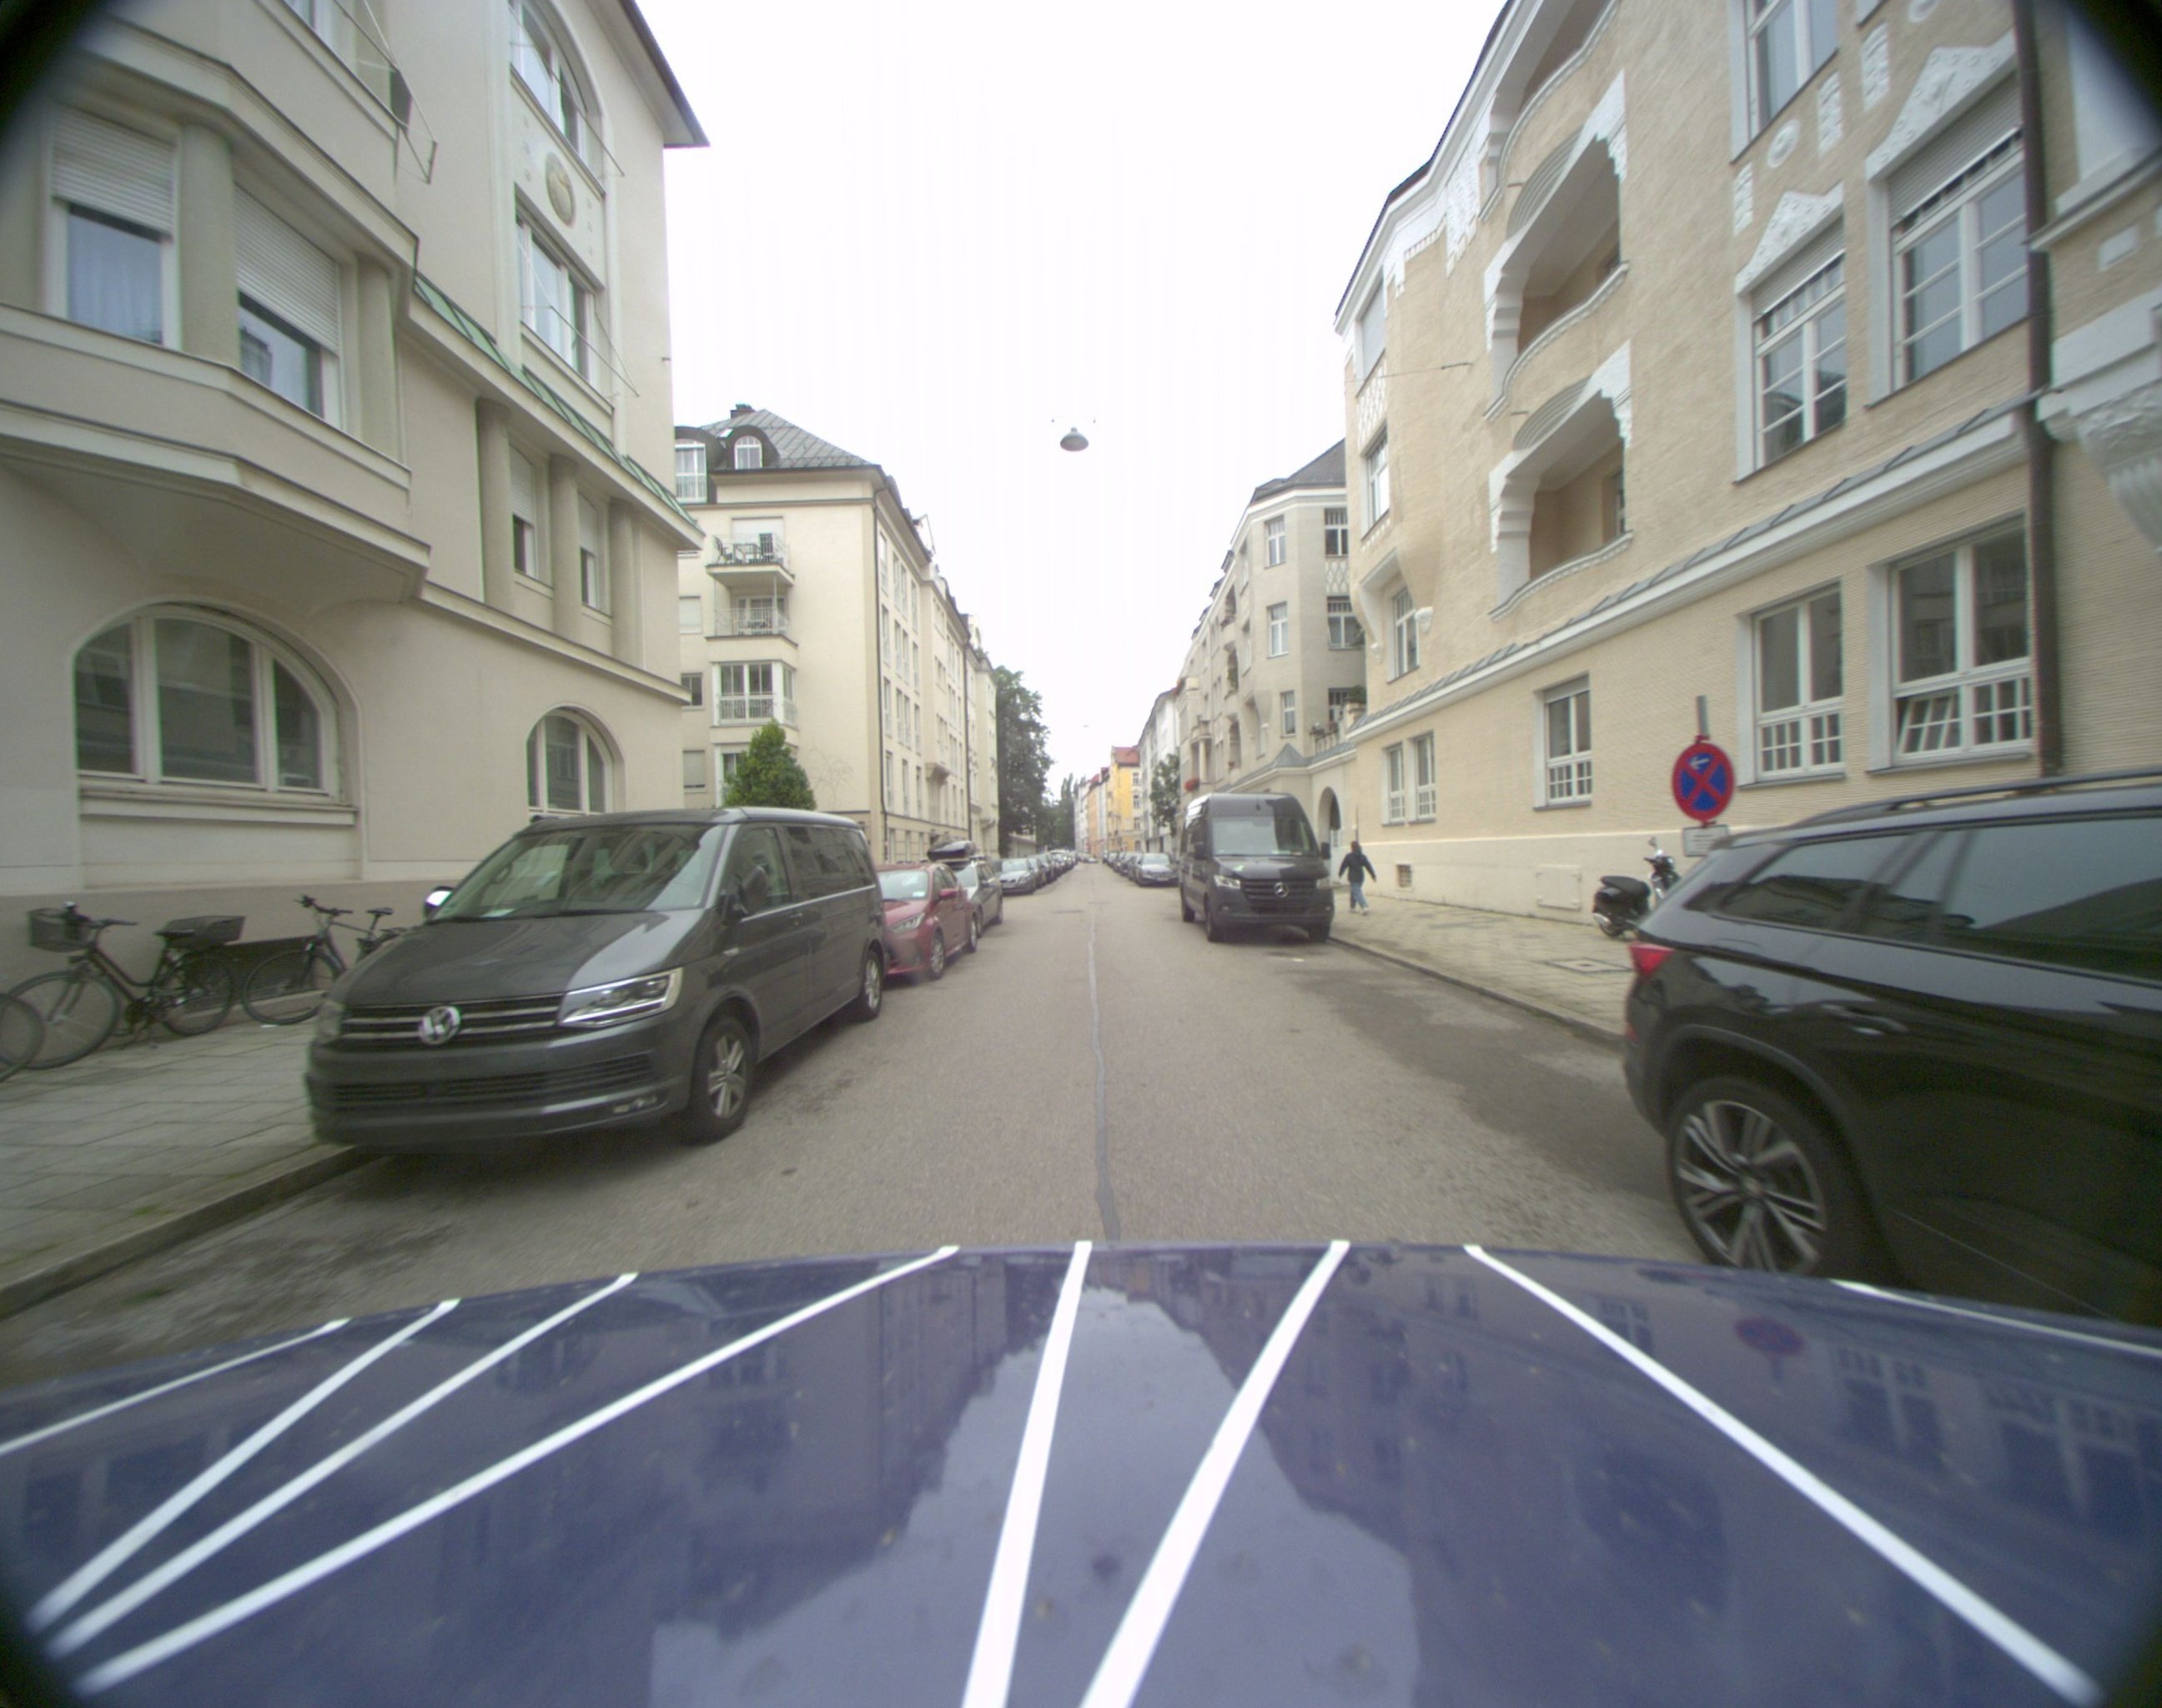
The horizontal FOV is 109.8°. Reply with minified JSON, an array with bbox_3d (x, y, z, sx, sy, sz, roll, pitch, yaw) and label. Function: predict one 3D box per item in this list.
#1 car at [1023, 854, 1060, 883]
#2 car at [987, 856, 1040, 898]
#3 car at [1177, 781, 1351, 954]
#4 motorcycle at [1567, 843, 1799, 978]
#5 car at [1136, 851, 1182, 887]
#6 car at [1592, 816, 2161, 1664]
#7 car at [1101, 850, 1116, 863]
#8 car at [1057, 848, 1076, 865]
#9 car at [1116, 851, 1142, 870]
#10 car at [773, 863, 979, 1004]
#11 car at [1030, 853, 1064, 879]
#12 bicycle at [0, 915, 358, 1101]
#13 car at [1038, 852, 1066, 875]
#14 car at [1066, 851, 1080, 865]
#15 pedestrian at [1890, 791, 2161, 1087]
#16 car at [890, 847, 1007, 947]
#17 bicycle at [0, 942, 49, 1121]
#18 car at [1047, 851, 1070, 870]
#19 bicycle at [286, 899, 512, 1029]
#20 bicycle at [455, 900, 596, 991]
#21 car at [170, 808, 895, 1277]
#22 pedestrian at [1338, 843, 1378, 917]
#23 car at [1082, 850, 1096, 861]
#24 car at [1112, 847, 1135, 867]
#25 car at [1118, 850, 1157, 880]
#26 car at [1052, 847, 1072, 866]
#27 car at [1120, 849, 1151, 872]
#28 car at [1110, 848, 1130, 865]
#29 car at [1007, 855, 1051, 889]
[{"bbox_3d":[-2.052,0.736,40.217,1.683,1.375,3.645,-2,1,1],"label":"car"},{"bbox_3d":[-2.618,0.869,30.367,1.683,1.434,3.645,-2,1,1],"label":"car"},{"bbox_3d":[3.116,0.177,14.288,2.104,2.606,5.678,0,1,2],"label":"car"},{"bbox_3d":[7.127,0.581,9.234,0.829,1.387,2.514,-2,1,1],"label":"motorcycle"},{"bbox_3d":[3.383,0.613,33.649,1.683,1.390,3.705,-2,1,1],"label":"car"},{"bbox_3d":[3.012,0.738,0.865,1.877,1.639,4.459,-2,1,1],"label":"car"},{"bbox_3d":[4.625,0.382,127.929,1.999,2.002,3.998,-2,1,-3],"label":"car"},{"bbox_3d":[-1.411,0.233,76.295,1.683,1.671,3.645,-2,1,1],"label":"car"},{"bbox_3d":[3.698,0.471,59.251,1.683,1.390,3.704,-2,1,-1],"label":"car"},{"bbox_3d":[-2.586,0.933,10.538,1.731,1.458,3.737,-2,1,1],"label":"car"},{"bbox_3d":[-1.949,0.684,44.502,1.683,1.375,3.645,-2,1,1],"label":"car"},{"bbox_3d":[-7.242,1.141,6.221,0.719,1.111,1.967,0,1,1],"label":"bicycle"},{"bbox_3d":[-1.965,0.620,52.696,1.683,1.434,3.645,-2,1,1],"label":"car"},{"bbox_3d":[-1.078,0.551,99.905,1.683,1.671,3.645,-2,1,1],"label":"car"},{"bbox_3d":[6.252,0.490,4.927,0.995,1.719,0.939,-2,1,0],"label":"pedestrian"},{"bbox_3d":[-2.625,0.783,15.808,1.683,1.767,3.456,-2,1,1],"label":"car"},{"bbox_3d":[-7.239,1.148,4.068,0.719,1.111,1.967,1,1,1],"label":"bicycle"},{"bbox_3d":[-1.812,0.503,62.525,1.683,1.434,3.645,-2,1,1],"label":"car"},{"bbox_3d":[-7.261,1.115,8.247,0.719,1.111,1.884,0,1,0],"label":"bicycle"},{"bbox_3d":[-7.360,1.173,10.186,0.540,0.952,1.817,-2,1,-1],"label":"bicycle"},{"bbox_3d":[-2.915,0.797,5.600,1.880,1.925,4.662,-3,1,-1],"label":"car"},{"bbox_3d":[5.905,0.533,16.253,0.714,1.514,1.016,-2,1,17],"label":"pedestrian"},{"bbox_3d":[1.365,0.228,127.716,1.999,1.788,3.998,-2,1,-4],"label":"car"},{"bbox_3d":[3.734,0.267,67.473,1.683,1.628,3.704,-2,1,-1],"label":"car"},{"bbox_3d":[2.872,0.520,39.411,1.683,1.390,3.704,-2,1,-1],"label":"car"},{"bbox_3d":[-1.742,0.195,70.731,1.683,1.671,3.645,-2,1,1],"label":"car"},{"bbox_3d":[3.543,0.415,49.810,1.683,1.390,3.704,-2,1,-1],"label":"car"},{"bbox_3d":[3.994,0.212,78.249,1.683,1.628,3.704,-2,1,-1],"label":"car"},{"bbox_3d":[-2.384,0.800,35.696,1.683,1.375,3.645,-2,1,1],"label":"car"}]
